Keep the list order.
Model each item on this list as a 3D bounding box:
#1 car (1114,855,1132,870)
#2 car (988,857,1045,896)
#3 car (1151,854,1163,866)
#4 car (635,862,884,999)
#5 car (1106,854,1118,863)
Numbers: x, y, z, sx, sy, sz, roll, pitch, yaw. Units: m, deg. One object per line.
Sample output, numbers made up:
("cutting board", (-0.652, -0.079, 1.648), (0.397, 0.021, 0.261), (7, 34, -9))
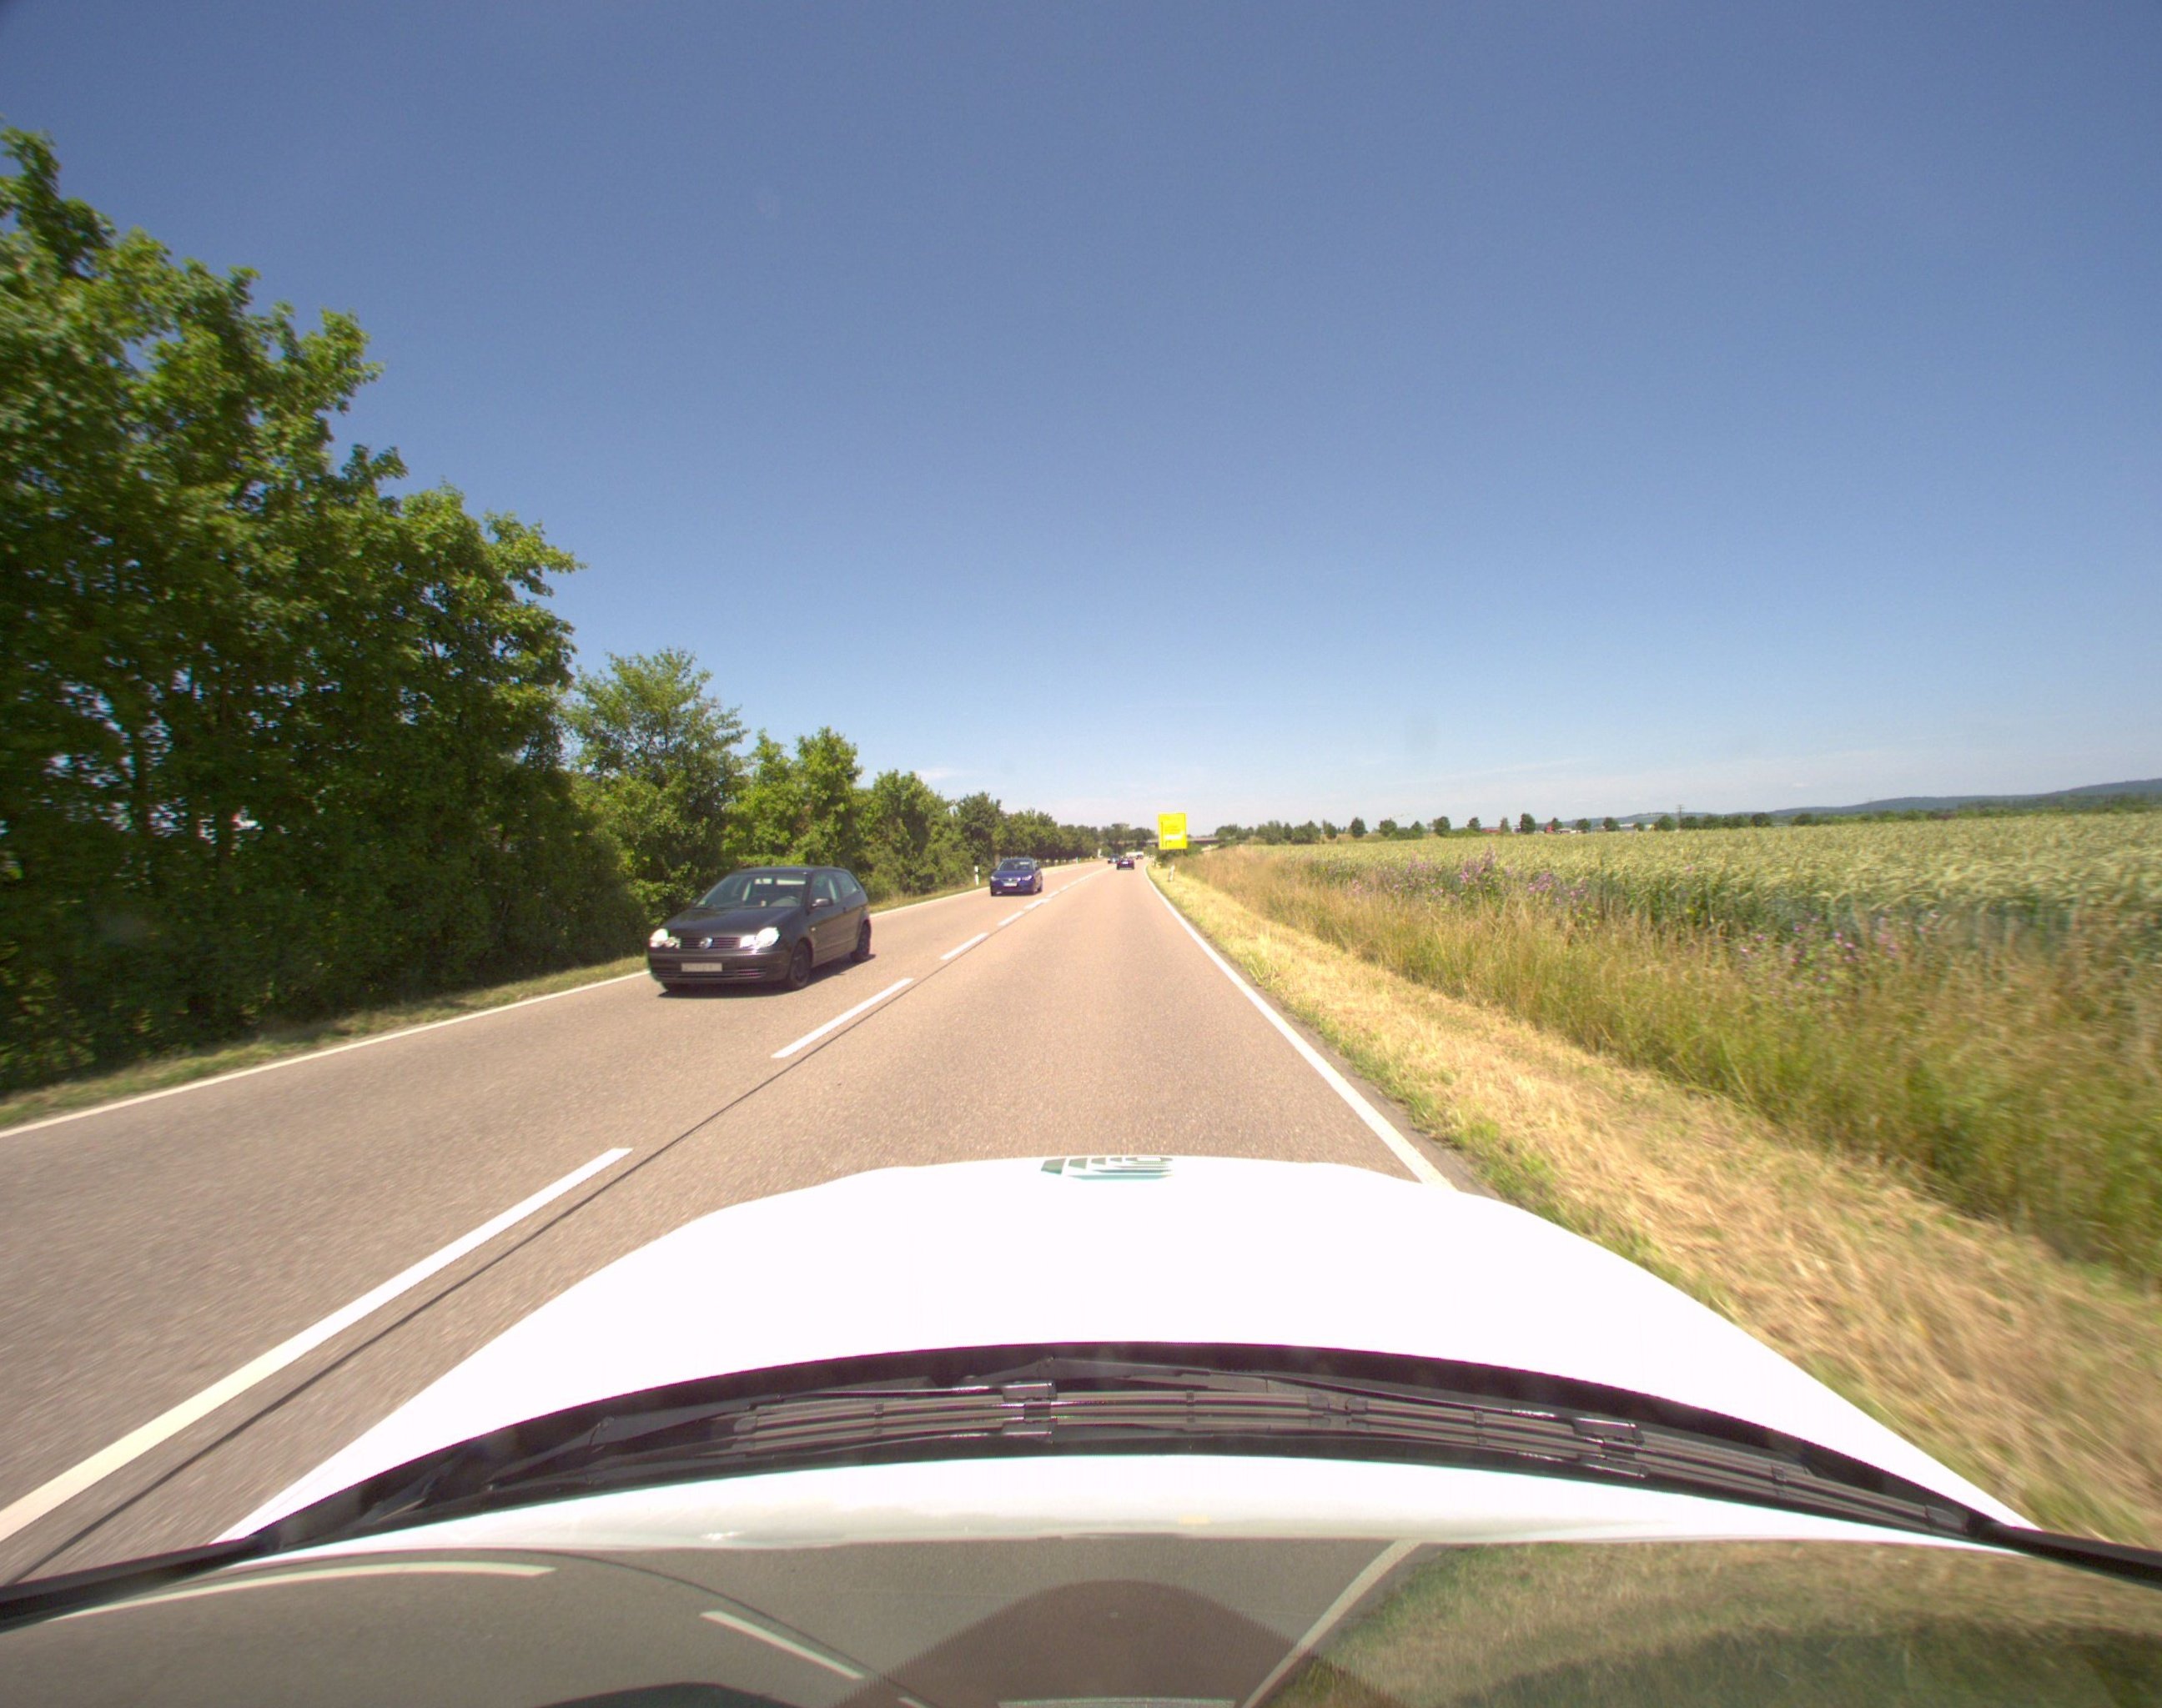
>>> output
("car", (4.240, 0.867, 81.781), (1.807, 1.441, 4.003), (-1, 0, 3))
("car", (-2.539, 0.864, 32.861), (1.645, 1.407, 4.005), (-1, 0, 4))
("car", (12.760, 1.084, 137.093), (1.741, 2.014, 4.001), (0, -1, 1))
("car", (-3.994, 0.855, 10.884), (1.591, 1.442, 4.002), (-1, 0, 2))
("car", (4.977, 0.760, 129.915), (1.773, 1.420, 4.539), (-1, 0, 4))
